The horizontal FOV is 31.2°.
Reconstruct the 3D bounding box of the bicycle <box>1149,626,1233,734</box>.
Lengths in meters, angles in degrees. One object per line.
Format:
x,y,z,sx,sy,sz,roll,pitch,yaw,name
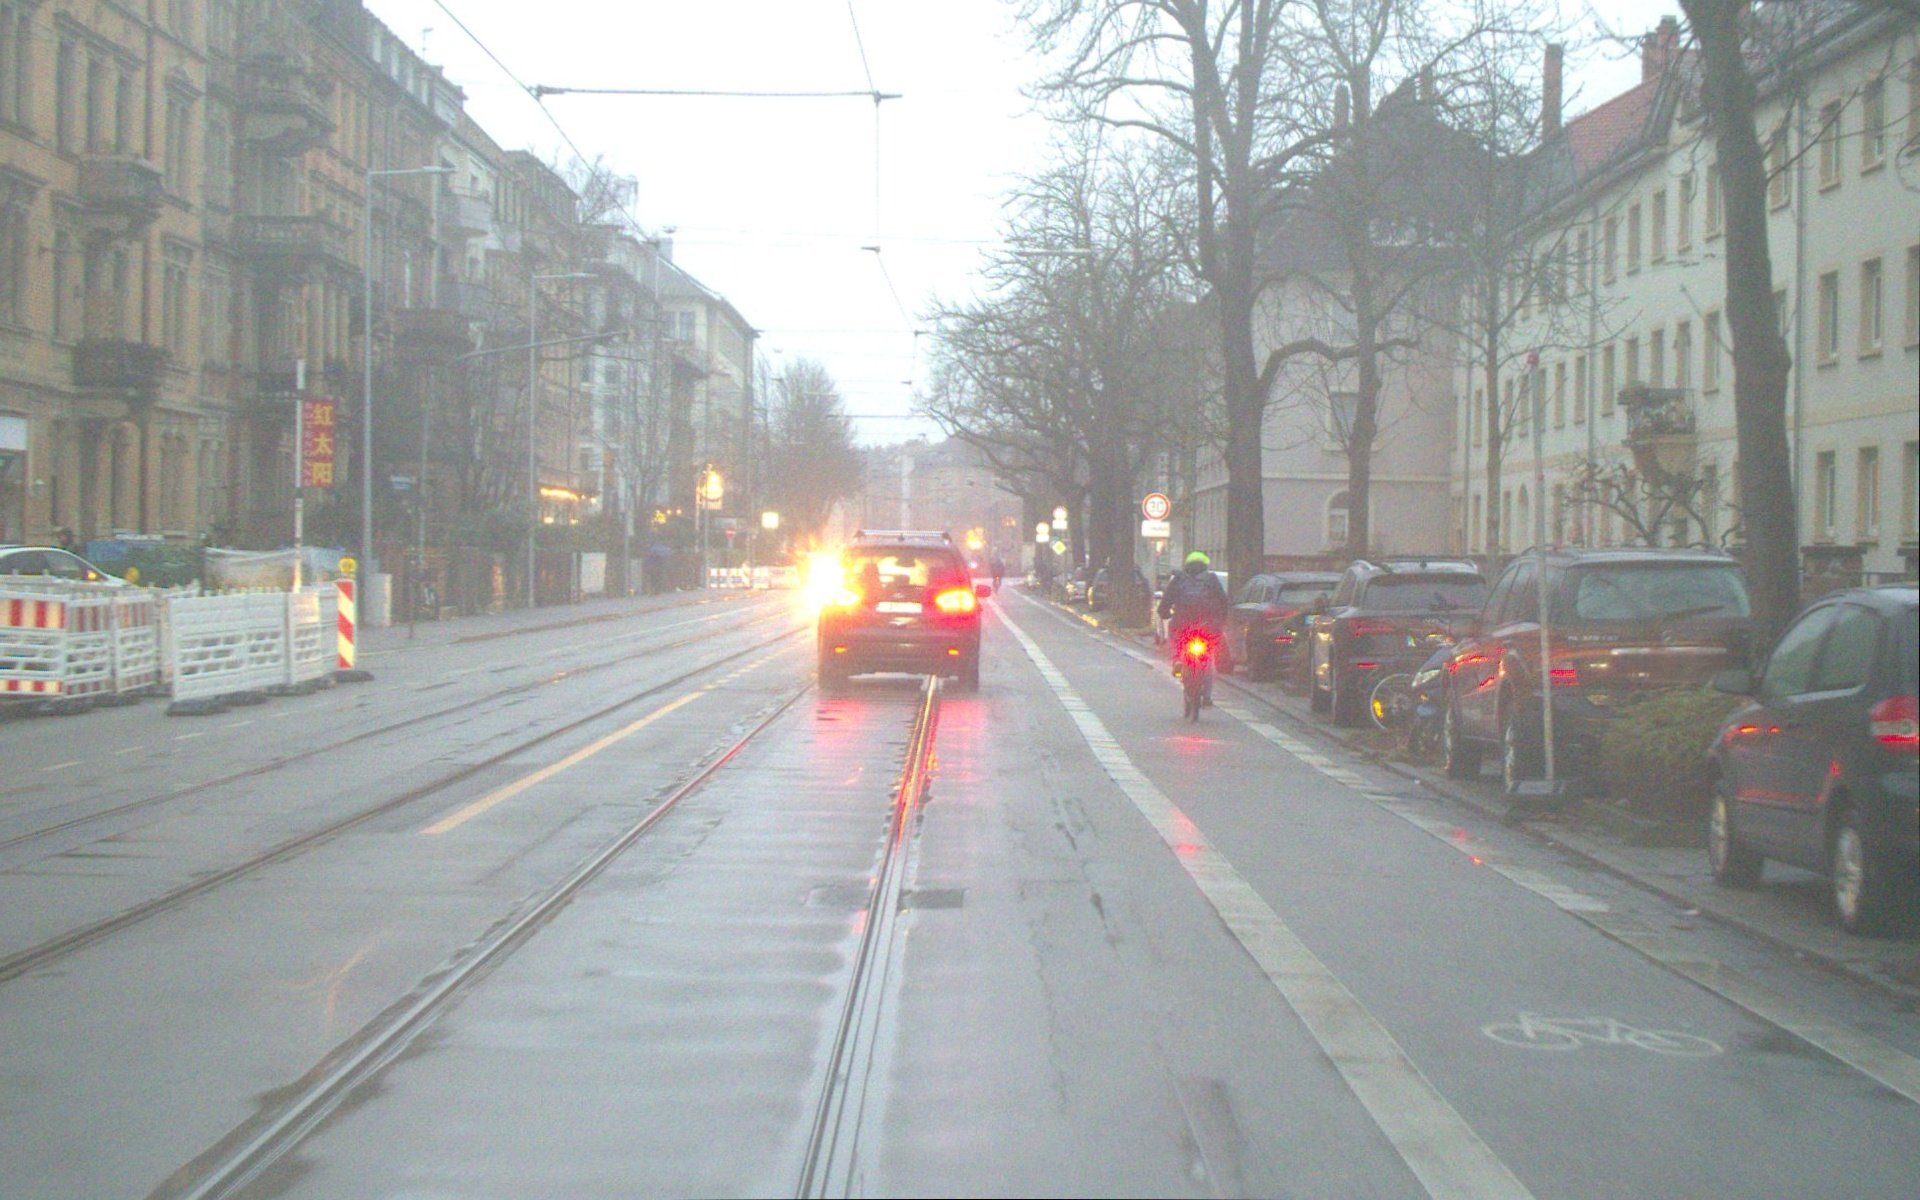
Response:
2.299,0.783,34.395,0.731,1.003,1.764,1,1,1,bicycle

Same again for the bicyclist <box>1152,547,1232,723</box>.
2.315,0.343,34.362,0.730,1.730,0.765,1,0,1,bicyclist

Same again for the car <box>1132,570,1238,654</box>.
4.227,0.201,65.050,1.785,1.504,4.108,1,1,1,car

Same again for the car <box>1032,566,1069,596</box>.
4.725,-0.990,179.744,1.785,1.504,4.108,1,1,0,car

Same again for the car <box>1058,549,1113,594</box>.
4.399,-1.008,120.863,1.785,1.504,4.108,1,1,0,car

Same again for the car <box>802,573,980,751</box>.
-0.759,0.674,40.346,1.802,1.864,4.018,4,1,1,car

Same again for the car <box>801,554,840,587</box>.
-7.435,-1.593,183.344,1.923,1.714,4.000,1,1,0,car

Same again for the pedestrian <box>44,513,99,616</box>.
-15.518,-0.620,60.033,0.718,1.767,0.770,1,1,-32,pedestrian

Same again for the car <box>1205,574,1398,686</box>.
4.588,0.372,46.793,1.878,1.415,4.345,-1,1,-4,car

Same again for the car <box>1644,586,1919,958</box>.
4.551,0.715,16.230,1.785,1.504,3.988,1,1,-1,car

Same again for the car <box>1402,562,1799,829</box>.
4.528,0.603,25.057,1.905,1.721,4.902,1,1,-1,car

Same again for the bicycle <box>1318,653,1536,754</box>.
4.400,0.970,32.386,2.014,0.913,0.464,0,1,9,bicycle

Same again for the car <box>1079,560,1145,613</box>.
4.530,-0.422,102.838,1.785,1.504,4.108,1,1,0,car

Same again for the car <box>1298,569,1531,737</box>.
4.657,0.494,35.845,1.906,1.604,4.561,1,1,1,car
